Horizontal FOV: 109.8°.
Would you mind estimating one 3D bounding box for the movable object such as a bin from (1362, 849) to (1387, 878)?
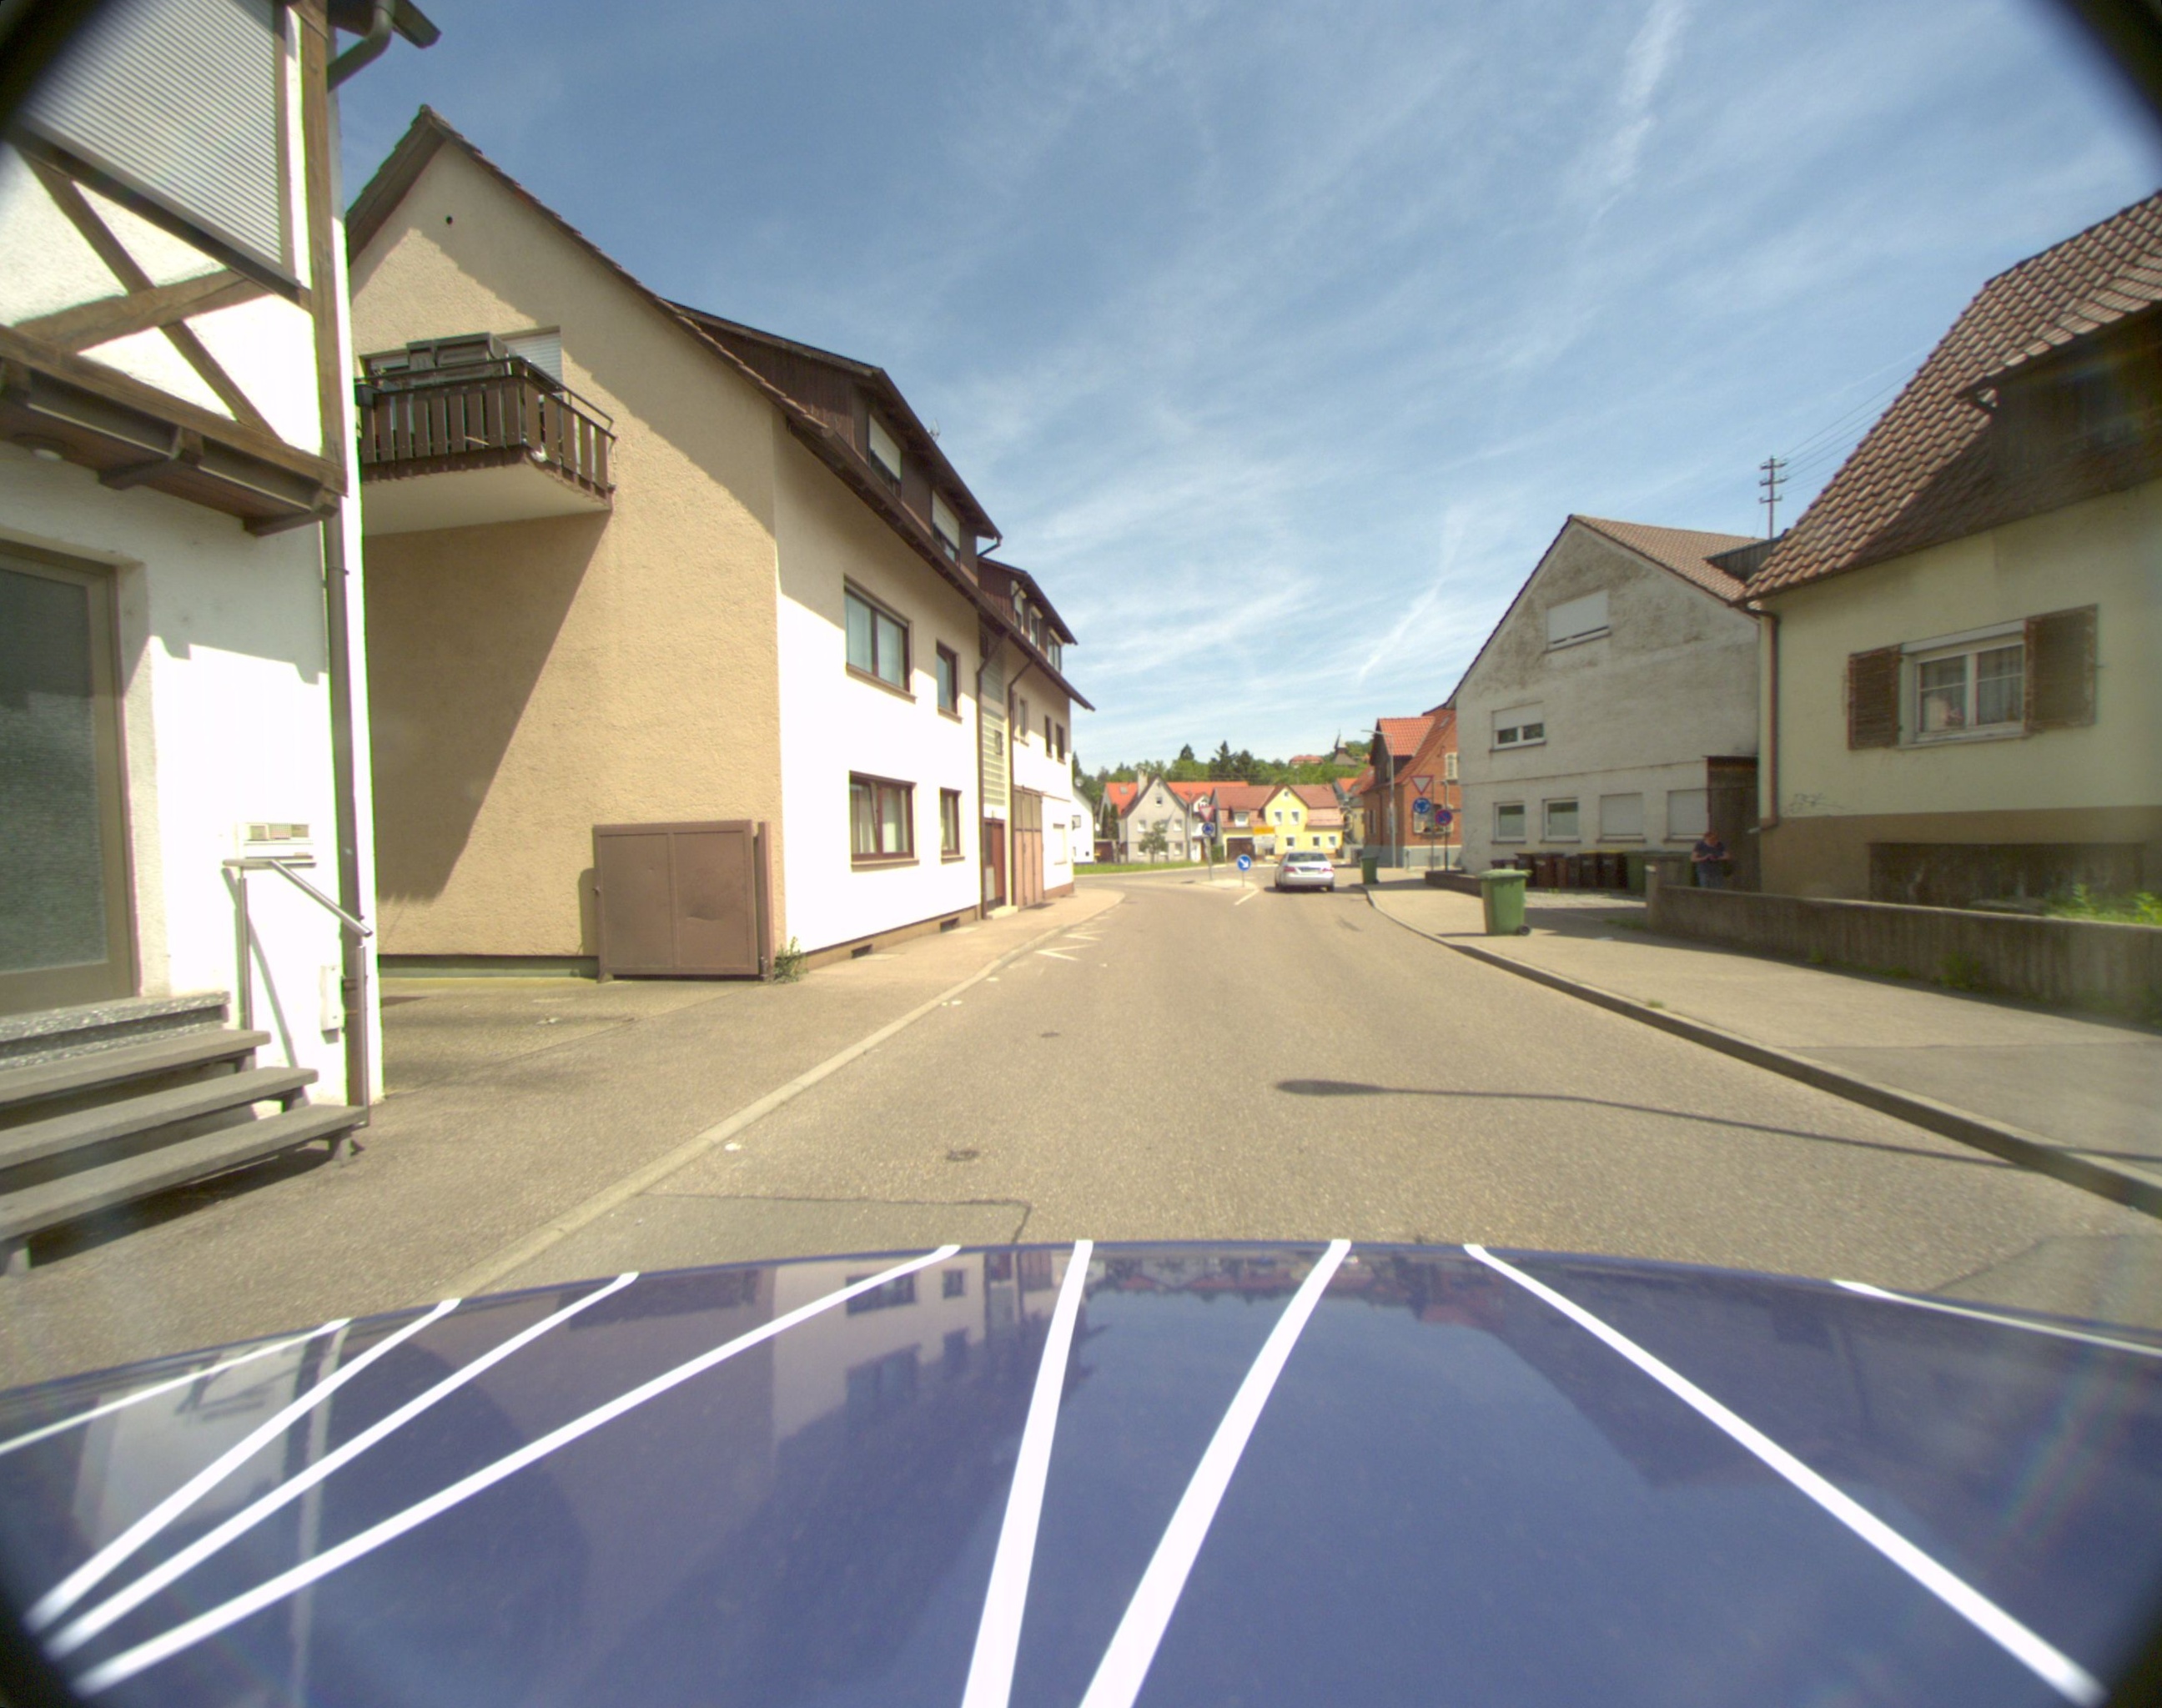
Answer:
[{"bbox_3d":[11.006,0.358,28.553,0.809,1.039,0.828,-3,1,19],"label":"movable object such as a bin"}]

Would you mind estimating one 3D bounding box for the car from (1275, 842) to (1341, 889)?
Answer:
[{"bbox_3d":[8.153,0.357,27.669,1.958,1.478,4.462,-2,1,13],"label":"car"}]

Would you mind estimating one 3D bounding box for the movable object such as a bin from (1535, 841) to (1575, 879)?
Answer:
[{"bbox_3d":[14.051,0.165,22.533,0.685,1.080,0.697,-3,1,-18],"label":"movable object such as a bin"}]

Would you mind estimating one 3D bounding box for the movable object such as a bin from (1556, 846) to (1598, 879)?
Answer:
[{"bbox_3d":[14.244,0.244,21.837,0.685,0.891,0.697,-3,1,-18],"label":"movable object such as a bin"}]

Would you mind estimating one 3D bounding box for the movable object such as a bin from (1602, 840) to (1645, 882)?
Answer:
[{"bbox_3d":[14.641,0.194,20.509,0.685,1.076,0.624,-3,1,-18],"label":"movable object such as a bin"}]

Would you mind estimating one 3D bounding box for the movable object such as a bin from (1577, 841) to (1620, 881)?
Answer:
[{"bbox_3d":[14.391,0.195,21.141,0.685,1.076,0.697,-3,1,-18],"label":"movable object such as a bin"}]

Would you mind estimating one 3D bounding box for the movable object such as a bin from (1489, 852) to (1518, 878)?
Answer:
[{"bbox_3d":[13.579,0.338,24.437,0.487,0.801,0.646,-3,1,-16],"label":"movable object such as a bin"}]

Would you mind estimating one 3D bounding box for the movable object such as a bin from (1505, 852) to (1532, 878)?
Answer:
[{"bbox_3d":[13.744,0.347,23.861,0.487,0.776,0.526,-3,1,-18],"label":"movable object such as a bin"}]

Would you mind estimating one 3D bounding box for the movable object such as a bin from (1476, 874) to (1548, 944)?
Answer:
[{"bbox_3d":[6.940,0.879,12.265,0.793,1.051,0.651,-2,1,5],"label":"movable object such as a bin"}]

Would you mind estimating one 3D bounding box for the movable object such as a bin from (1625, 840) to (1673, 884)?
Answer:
[{"bbox_3d":[14.868,0.207,19.902,0.741,1.076,0.659,-3,1,-18],"label":"movable object such as a bin"}]

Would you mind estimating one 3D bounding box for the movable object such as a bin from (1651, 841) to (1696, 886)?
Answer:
[{"bbox_3d":[15.036,0.239,19.282,0.681,1.076,0.583,-3,1,-18],"label":"movable object such as a bin"}]

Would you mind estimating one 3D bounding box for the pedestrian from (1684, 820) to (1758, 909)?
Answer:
[{"bbox_3d":[11.749,0.195,13.974,0.779,1.565,0.627,-3,1,0],"label":"pedestrian"}]

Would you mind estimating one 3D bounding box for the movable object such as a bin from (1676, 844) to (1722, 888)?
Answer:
[{"bbox_3d":[15.229,0.296,18.726,0.630,1.029,0.603,-3,1,-18],"label":"movable object such as a bin"}]

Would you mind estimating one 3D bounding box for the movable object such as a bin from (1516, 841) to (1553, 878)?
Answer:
[{"bbox_3d":[13.841,0.177,23.183,0.685,1.080,0.644,-3,1,-18],"label":"movable object such as a bin"}]
